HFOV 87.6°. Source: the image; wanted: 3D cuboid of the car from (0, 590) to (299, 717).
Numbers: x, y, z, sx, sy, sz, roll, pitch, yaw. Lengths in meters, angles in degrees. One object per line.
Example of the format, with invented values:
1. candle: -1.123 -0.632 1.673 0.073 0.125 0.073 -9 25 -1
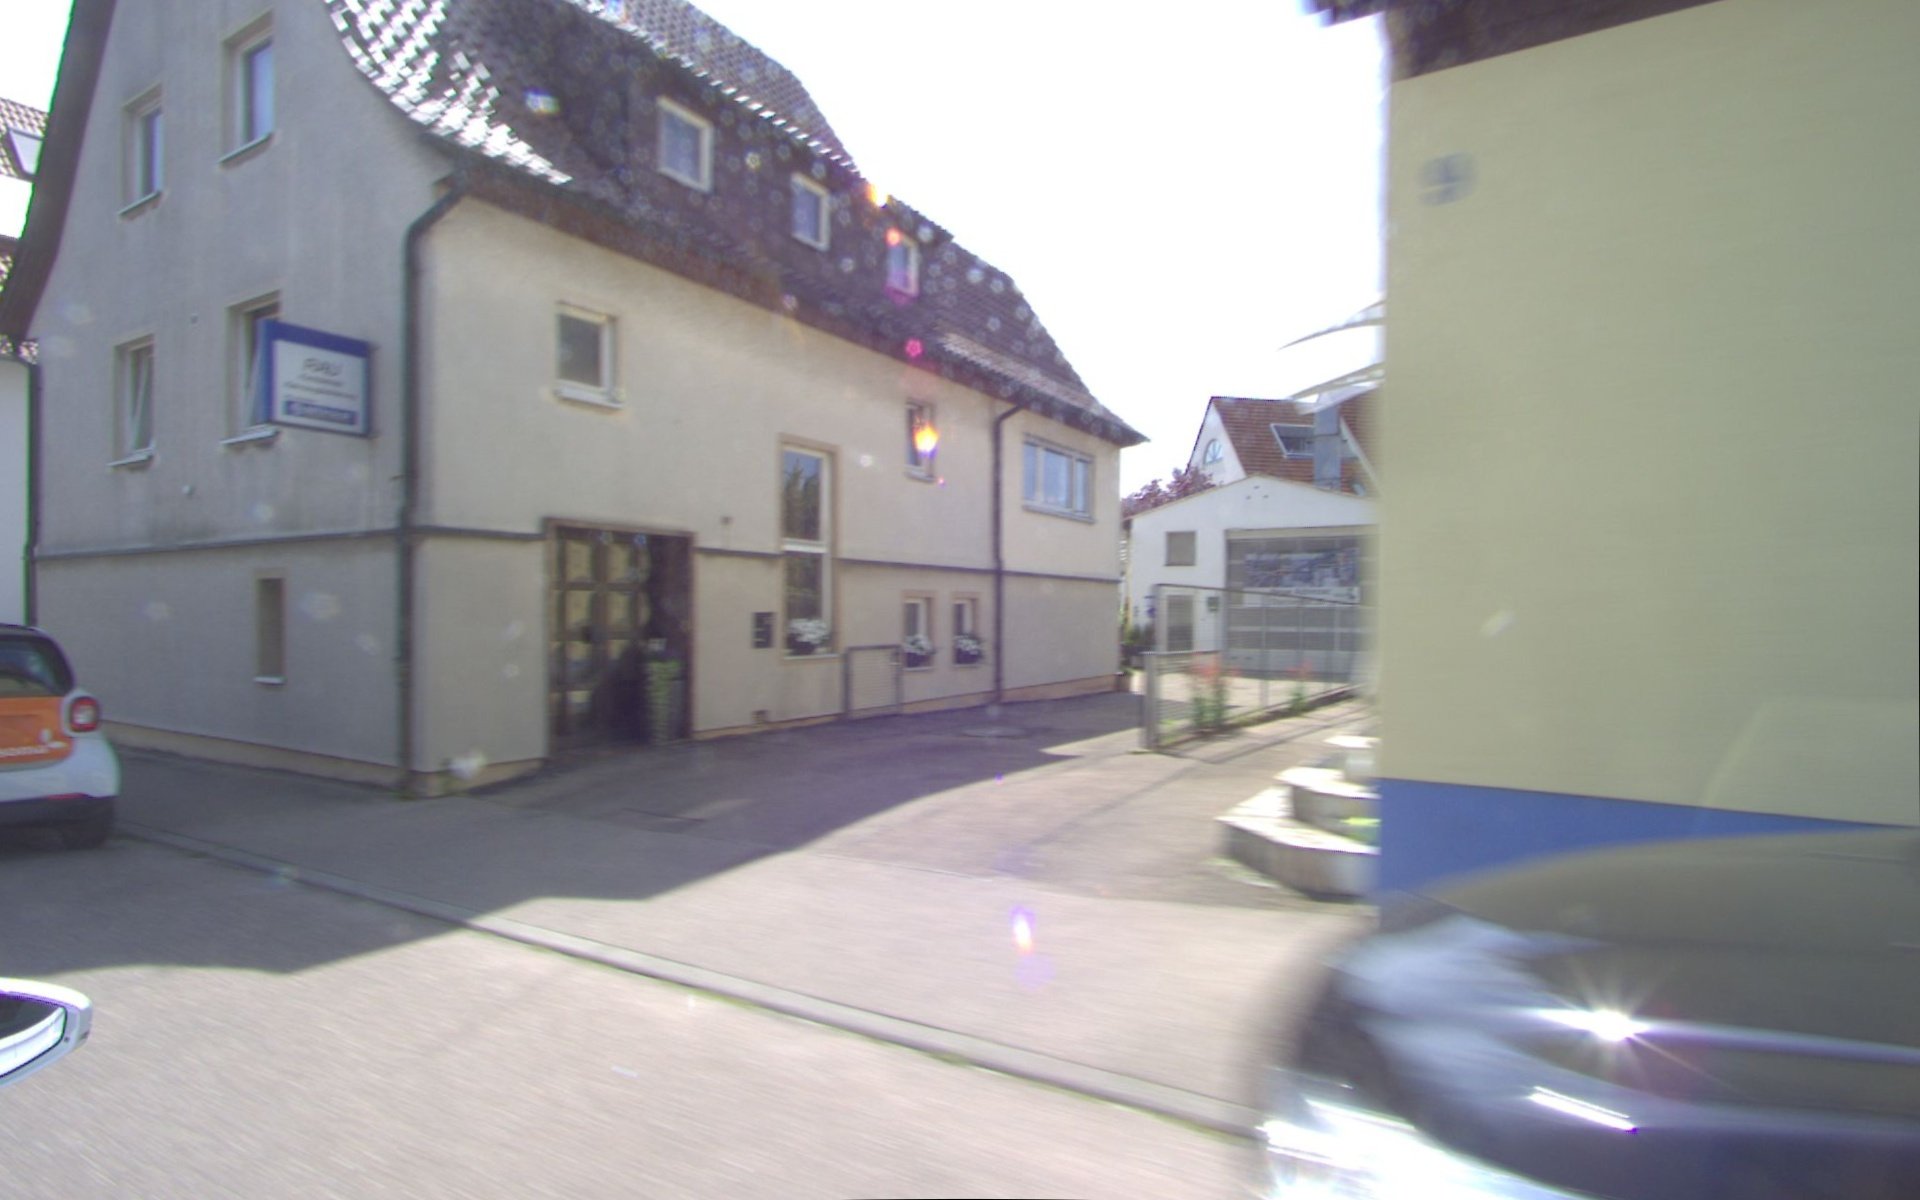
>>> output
1. car: -14.003 0.844 16.755 1.970 1.866 4.512 0 -2 29

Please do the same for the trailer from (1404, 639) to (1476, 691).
1. trailer: 11.045 1.460 23.000 1.297 1.055 2.162 1 0 31

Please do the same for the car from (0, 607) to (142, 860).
1. car: -7.319 0.844 6.933 2.996 1.579 1.671 -1 -2 31

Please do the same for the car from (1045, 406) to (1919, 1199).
1. car: 2.305 0.691 0.657 4.193 1.620 1.726 -1 -2 33
